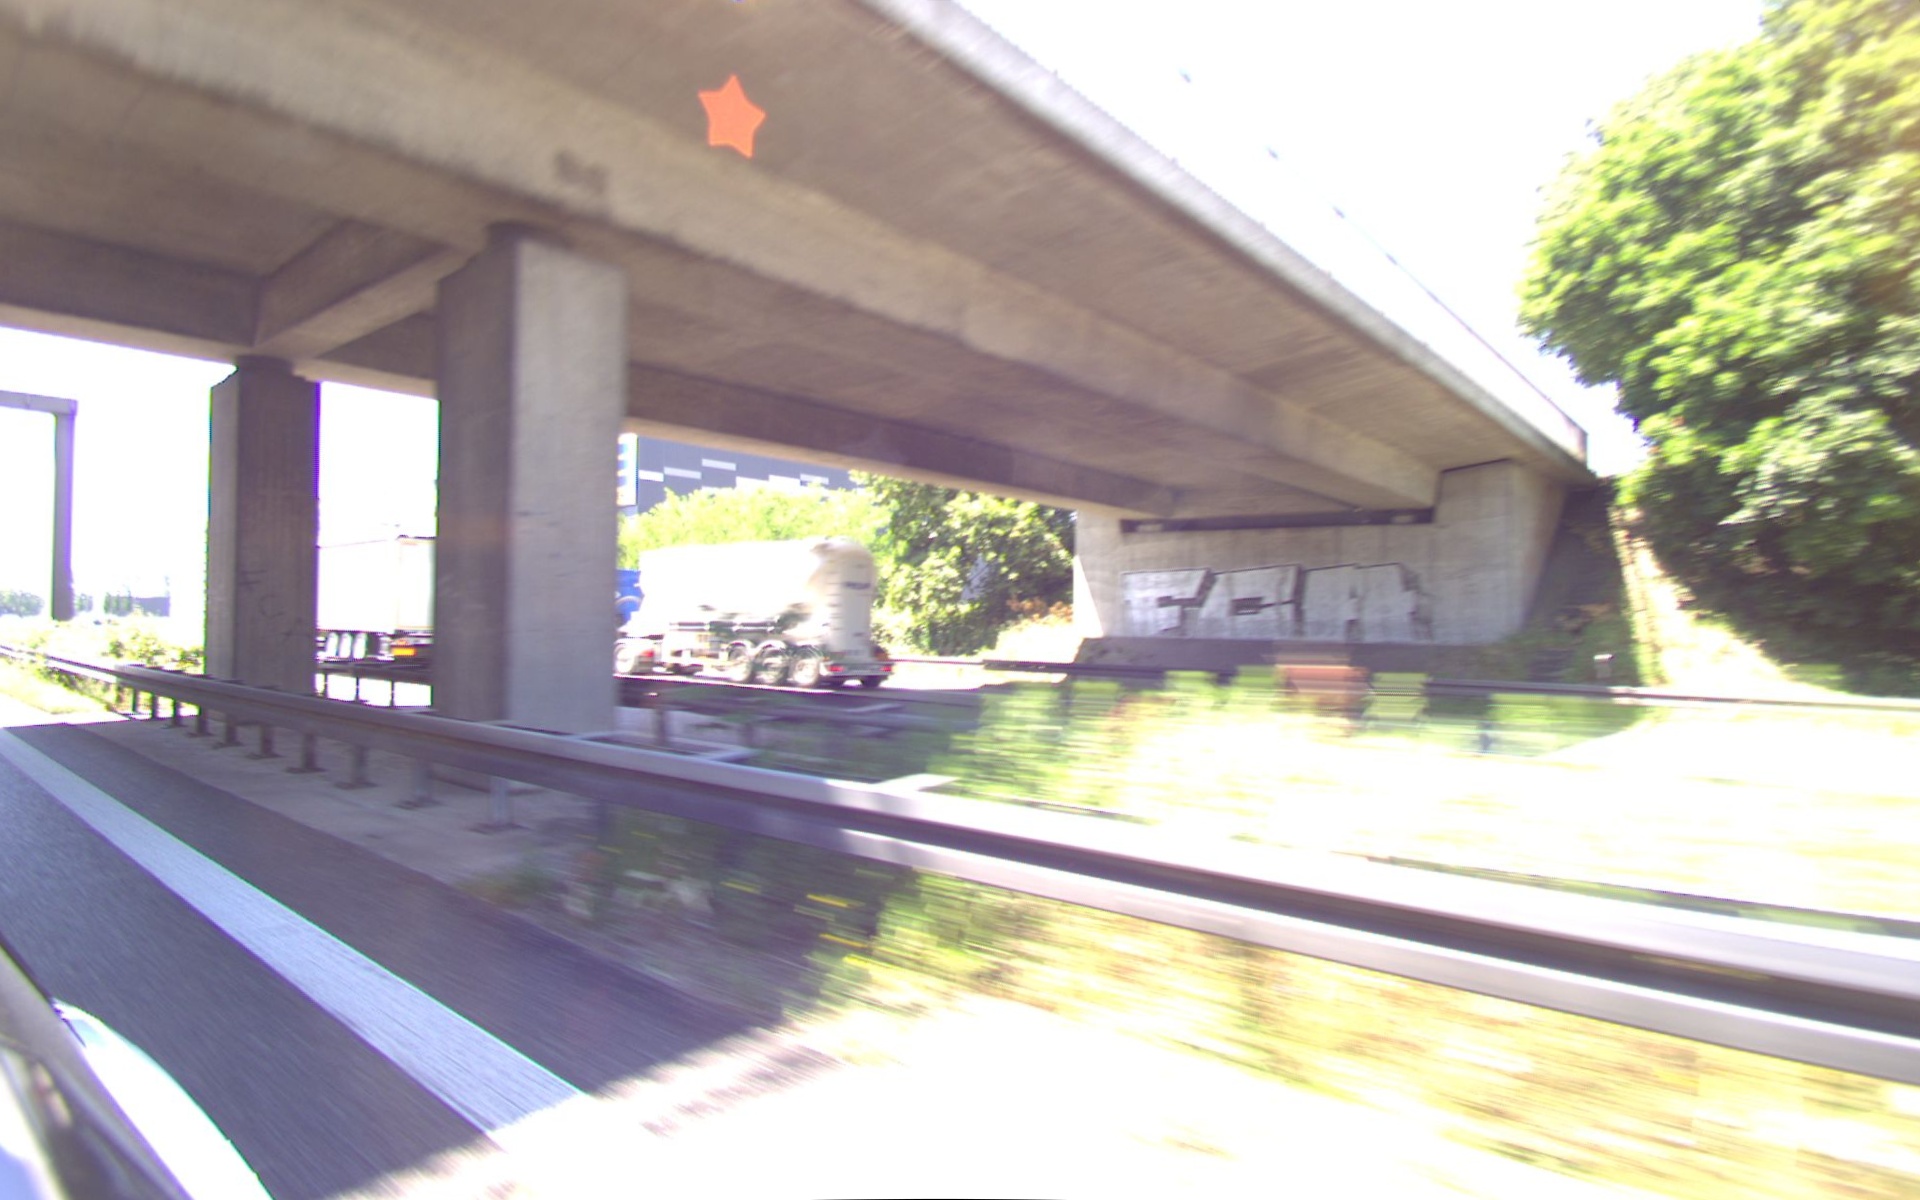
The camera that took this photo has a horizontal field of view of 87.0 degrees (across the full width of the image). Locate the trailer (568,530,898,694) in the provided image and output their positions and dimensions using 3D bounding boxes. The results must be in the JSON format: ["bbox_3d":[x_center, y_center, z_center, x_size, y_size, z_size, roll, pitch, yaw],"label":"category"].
[{"bbox_3d":[-6.875,0.423,28.450,12.069,3.823,2.334,-1,-4,41],"label":"trailer"}]

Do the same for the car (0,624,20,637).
[{"bbox_3d":[-119.399,3.821,126.701,4.740,1.606,1.880,-1,-3,40],"label":"car"}]

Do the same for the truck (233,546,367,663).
[{"bbox_3d":[-26.048,0.273,39.857,5.886,4.244,2.799,-1,-4,41],"label":"truck"}]

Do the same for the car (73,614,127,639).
[{"bbox_3d":[-54.488,1.674,64.118,4.237,1.565,1.880,-1,-2,39],"label":"car"}]

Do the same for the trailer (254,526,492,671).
[{"bbox_3d":[-20.884,0.145,35.301,13.829,4.257,2.799,-1,-4,41],"label":"trailer"}]

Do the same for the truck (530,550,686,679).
[{"bbox_3d":[-11.317,0.519,32.378,5.249,3.804,2.335,-1,-4,41],"label":"truck"}]
